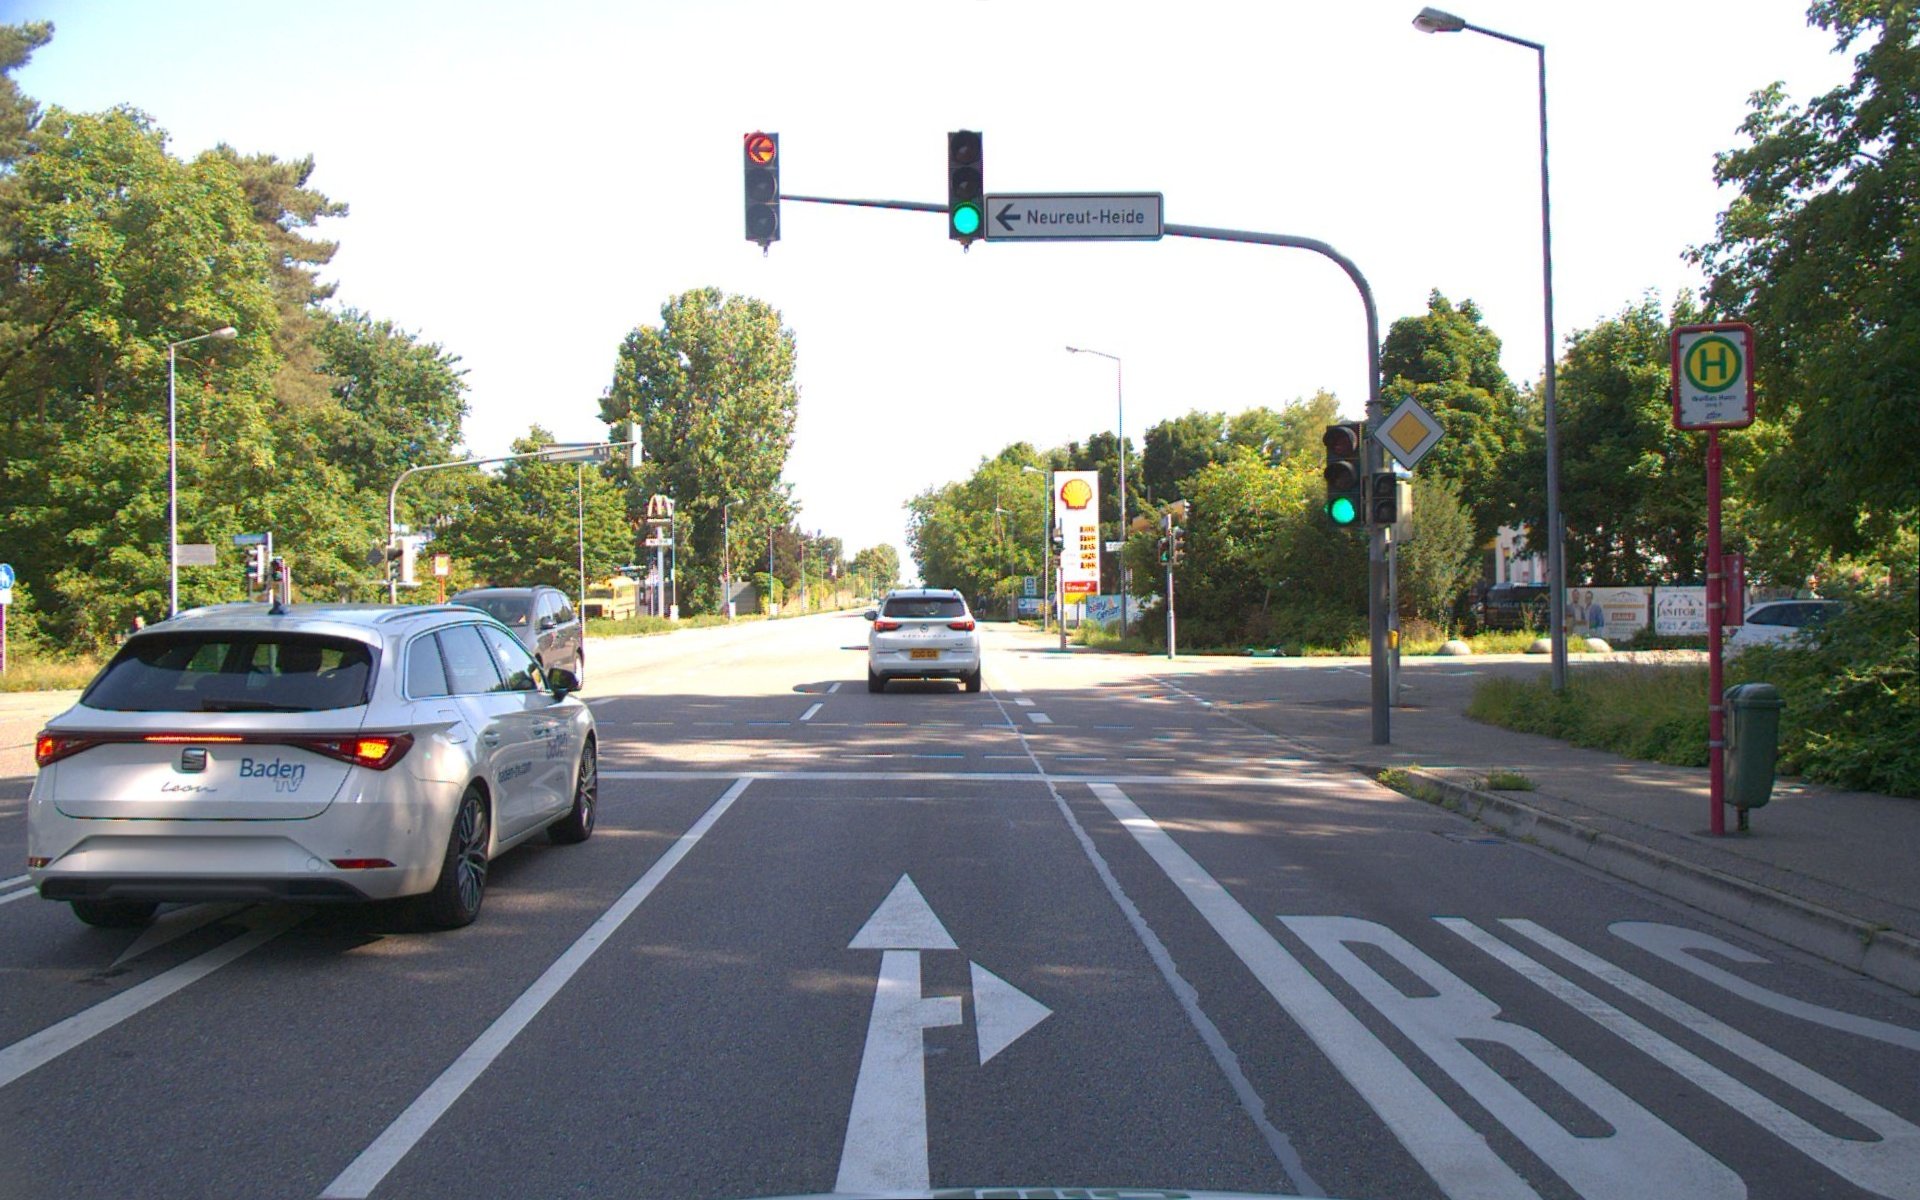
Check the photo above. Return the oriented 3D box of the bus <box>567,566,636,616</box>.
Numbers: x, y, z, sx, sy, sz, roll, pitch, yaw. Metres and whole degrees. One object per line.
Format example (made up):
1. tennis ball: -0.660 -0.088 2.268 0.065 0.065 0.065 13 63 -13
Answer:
1. bus: -20.927 -0.468 96.996 2.528 2.726 8.991 1 0 -3

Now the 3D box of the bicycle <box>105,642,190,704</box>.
1. bicycle: -17.168 1.529 35.015 0.718 1.183 2.371 -1 0 -3

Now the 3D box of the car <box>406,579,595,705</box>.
1. car: -7.041 0.614 25.802 1.755 1.726 4.390 -2 0 -1

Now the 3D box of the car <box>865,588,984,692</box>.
1. car: -0.579 0.628 27.504 1.809 1.568 4.223 1 0 -1

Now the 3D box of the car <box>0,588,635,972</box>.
1. car: -2.952 0.680 8.529 1.748 1.449 4.422 1 0 -1

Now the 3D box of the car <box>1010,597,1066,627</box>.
1. car: 4.192 0.647 89.421 2.683 1.557 1.568 -1 -2 43

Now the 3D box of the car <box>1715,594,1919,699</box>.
1. car: 13.970 0.665 25.328 1.600 1.489 4.586 -1 0 -21

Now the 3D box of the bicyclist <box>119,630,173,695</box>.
1. bicyclist: -17.170 1.312 34.892 0.707 1.334 0.883 -1 0 -4

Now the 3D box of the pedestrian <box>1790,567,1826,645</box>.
1. pedestrian: 18.185 0.128 35.457 0.595 1.658 0.415 -1 0 19
